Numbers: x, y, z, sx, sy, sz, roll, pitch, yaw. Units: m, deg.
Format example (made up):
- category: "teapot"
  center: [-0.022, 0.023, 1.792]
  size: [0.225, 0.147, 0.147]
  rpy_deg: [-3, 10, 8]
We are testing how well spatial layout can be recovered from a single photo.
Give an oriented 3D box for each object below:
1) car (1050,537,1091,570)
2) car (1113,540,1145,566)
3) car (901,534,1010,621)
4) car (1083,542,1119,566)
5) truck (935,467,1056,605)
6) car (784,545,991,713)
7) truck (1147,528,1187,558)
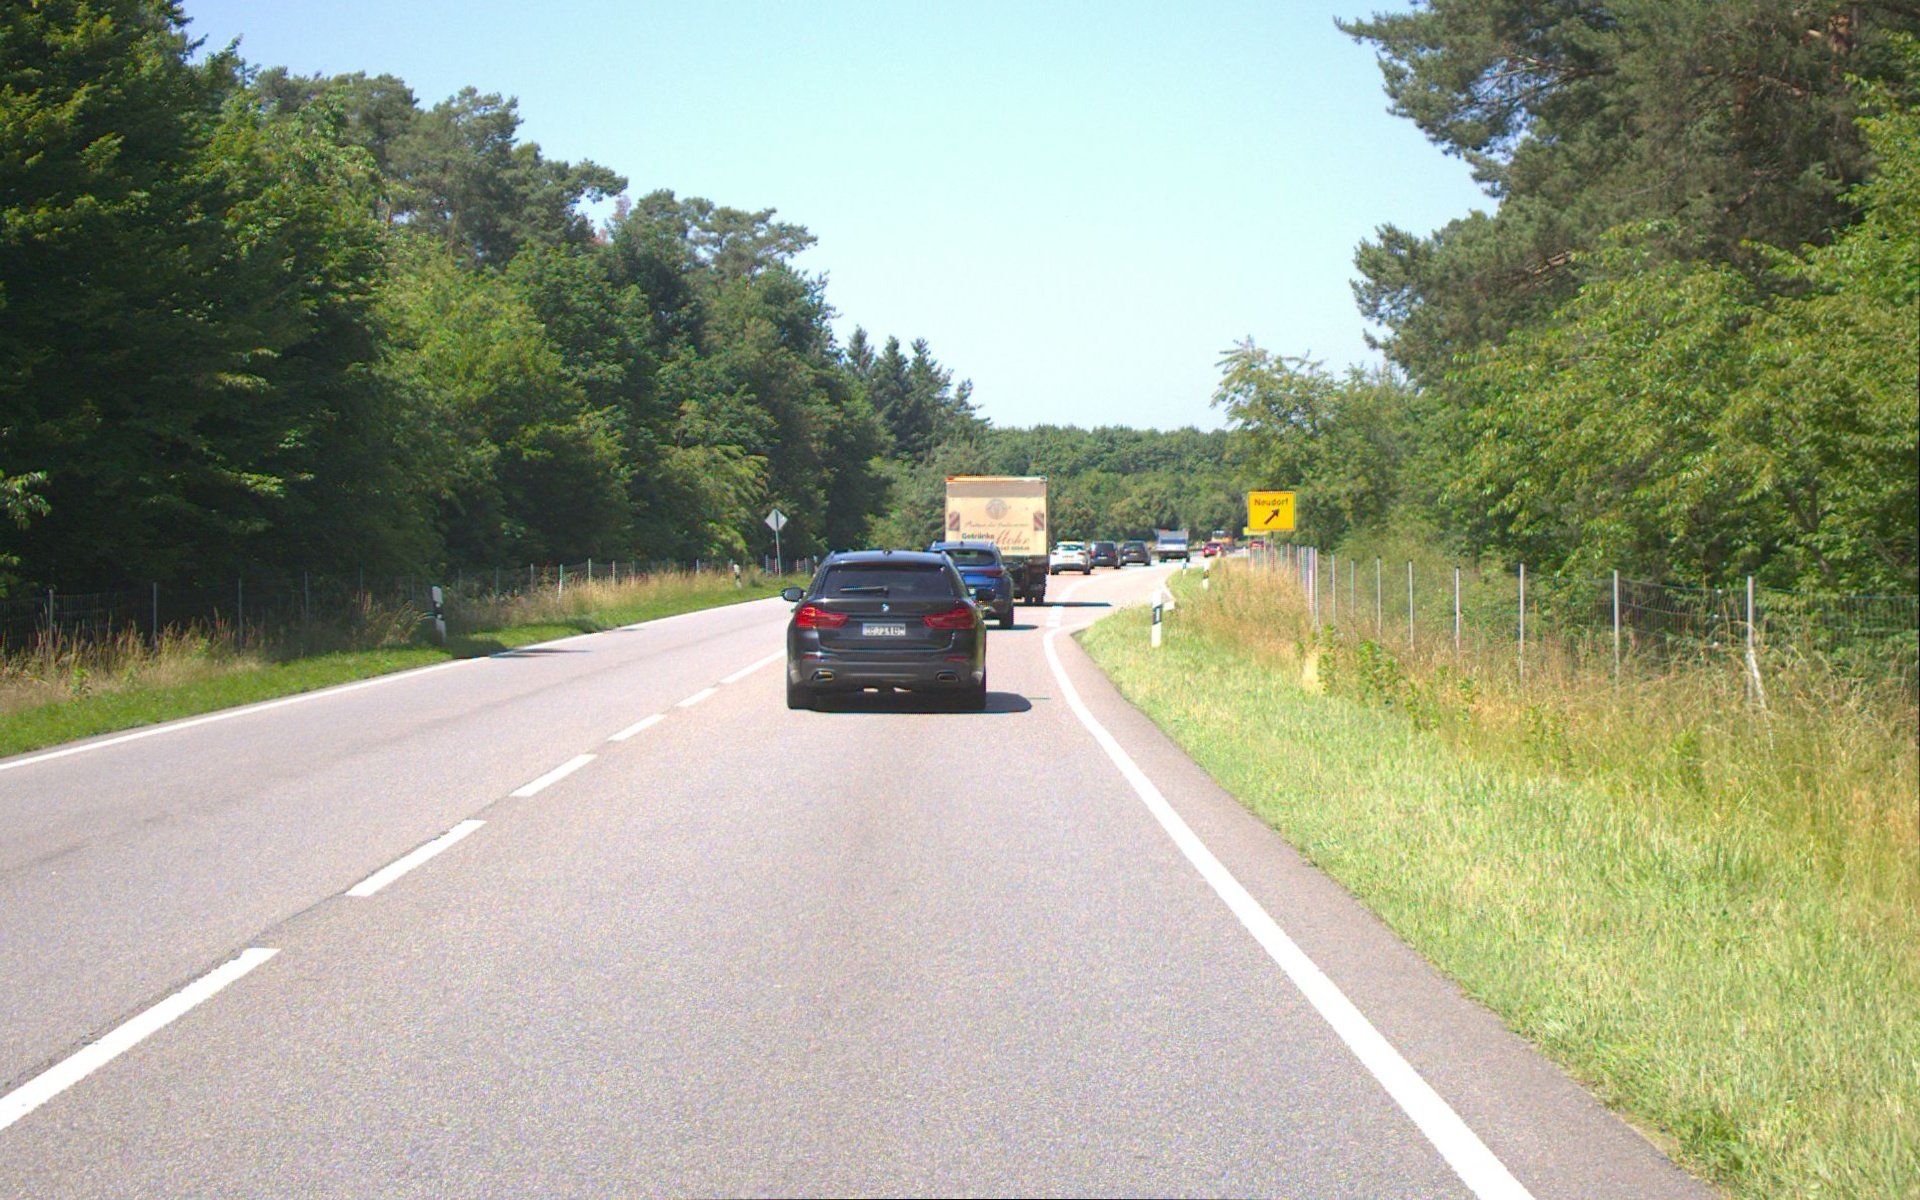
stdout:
- category: "car"
  center: [5.493, -2.329, 171.391]
  size: [1.863, 1.600, 4.000]
  rpy_deg: [-1, 1, 0]
- category: "car"
  center: [11.022, -3.080, 224.475]
  size: [1.993, 1.631, 4.000]
  rpy_deg: [-1, 1, 2]
- category: "car"
  center: [-0.077, -0.448, 64.785]
  size: [1.947, 1.536, 4.000]
  rpy_deg: [-2, 1, 0]
- category: "car"
  center: [8.298, -2.713, 202.281]
  size: [1.994, 1.415, 4.000]
  rpy_deg: [0, 1, 4]
- category: "truck"
  center: [0.917, -1.664, 88.221]
  size: [2.965, 3.376, 6.438]
  rpy_deg: [-1, 1, 1]
- category: "car"
  center: [-0.748, 0.227, 32.774]
  size: [1.820, 1.465, 4.001]
  rpy_deg: [-1, 1, -3]
- category: "truck"
  center: [15.322, -4.218, 255.026]
  size: [2.563, 2.195, 4.974]
  rpy_deg: [-1, 1, -1]
